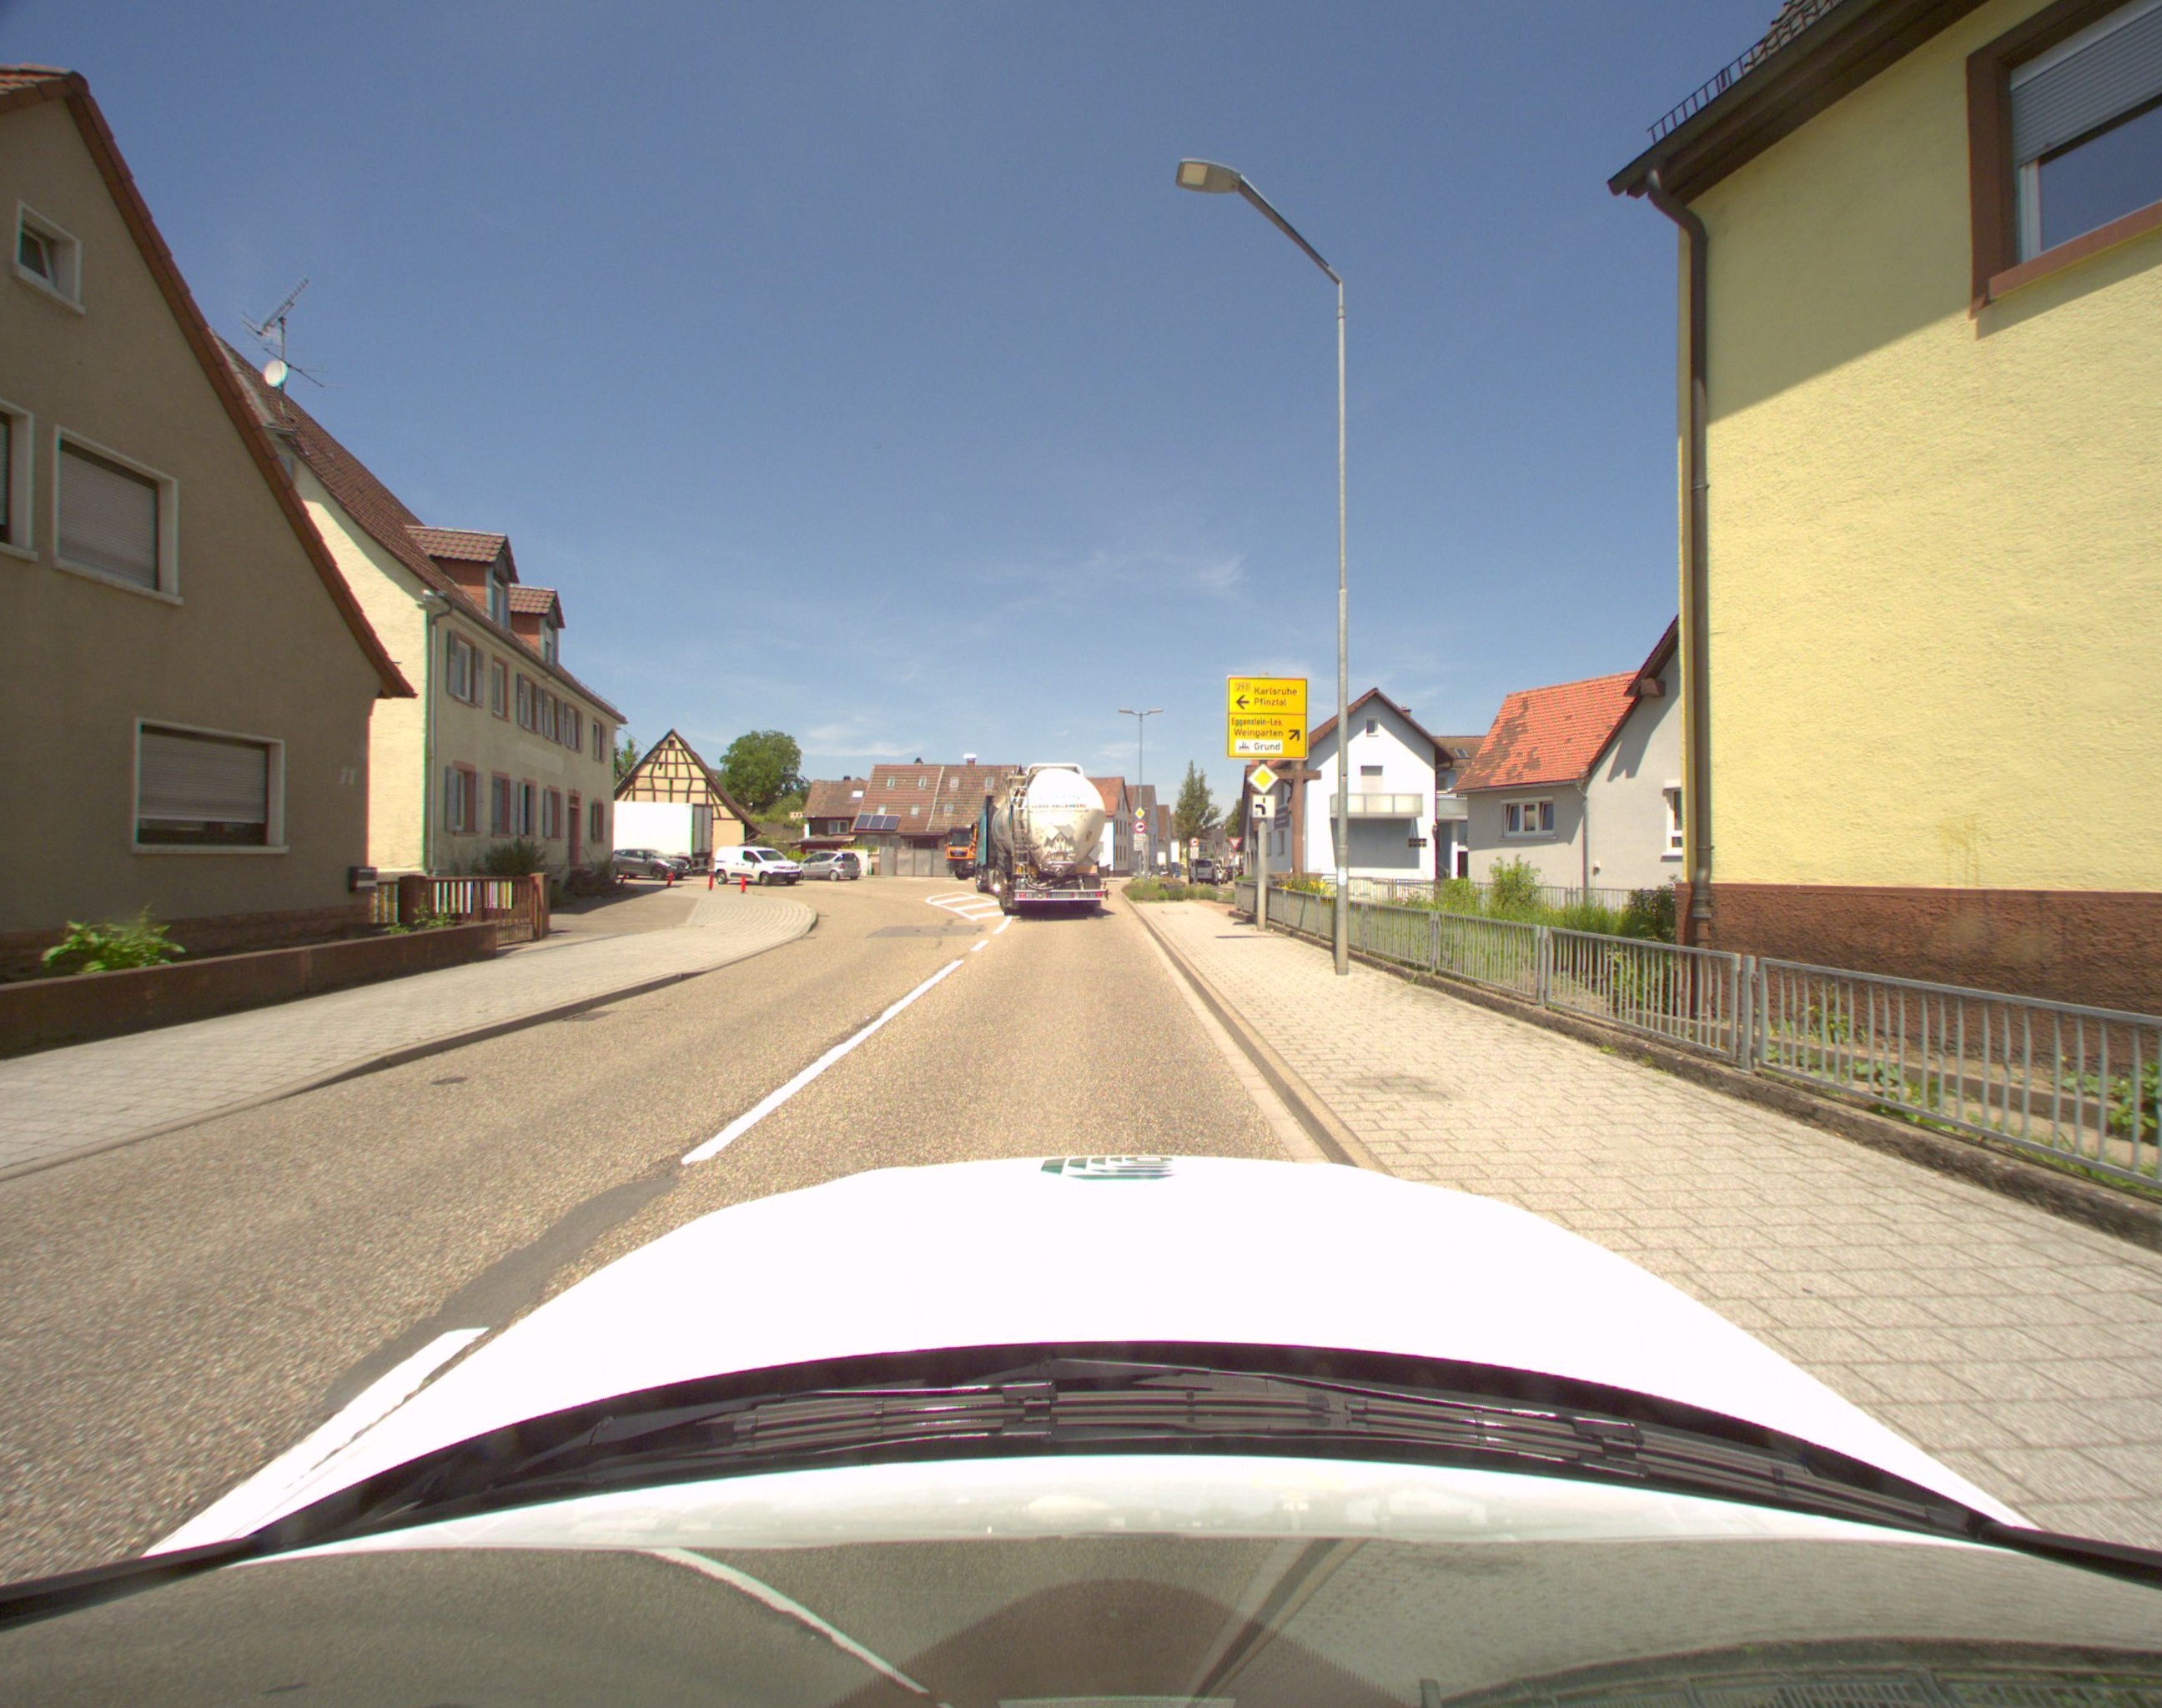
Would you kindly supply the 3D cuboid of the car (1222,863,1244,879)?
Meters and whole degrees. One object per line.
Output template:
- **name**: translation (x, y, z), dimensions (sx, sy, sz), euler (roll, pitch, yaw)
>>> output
- **car**: translation (15.788, 1.743, 84.484), dimensions (1.979, 1.585, 4.015), euler (1, 0, 14)

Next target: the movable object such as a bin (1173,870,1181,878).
- **movable object such as a bin**: translation (12.563, 2.635, 106.241), dimensions (0.913, 1.049, 0.947), euler (1, -1, 16)

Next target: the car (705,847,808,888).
- **car**: translation (-15.518, 0.613, 38.997), dimensions (4.468, 1.785, 1.890), euler (1, 0, 22)

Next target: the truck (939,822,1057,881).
- **truck**: translation (-4.803, -0.010, 48.844), dimensions (2.635, 3.181, 7.509), euler (-1, -3, 36)

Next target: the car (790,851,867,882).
- **car**: translation (-13.383, 0.676, 43.158), dimensions (3.563, 1.585, 1.797), euler (0, -1, 22)

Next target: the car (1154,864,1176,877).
- **car**: translation (10.445, 2.081, 101.314), dimensions (1.703, 1.596, 4.020), euler (0, -1, 21)

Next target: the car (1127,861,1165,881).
- **car**: translation (5.830, 1.541, 72.144), dimensions (1.976, 1.675, 4.336), euler (1, -2, 24)

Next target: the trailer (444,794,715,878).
- **trailer**: translation (-27.186, -0.908, 44.744), dimensions (12.432, 4.277, 3.137), euler (1, -1, -5)

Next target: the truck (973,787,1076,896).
- **truck**: translation (-2.410, -0.421, 32.648), dimensions (2.994, 3.965, 5.548), euler (1, -1, -16)

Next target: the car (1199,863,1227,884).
- **car**: translation (10.846, 1.580, 66.726), dimensions (1.804, 1.634, 4.224), euler (0, -1, 15)

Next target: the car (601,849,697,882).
- **car**: translation (-21.921, 0.560, 41.390), dimensions (3.962, 1.524, 1.803), euler (2, 0, 11)

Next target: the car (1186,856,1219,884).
- **car**: translation (8.952, 1.226, 59.643), dimensions (1.980, 1.912, 4.338), euler (1, -2, 13)

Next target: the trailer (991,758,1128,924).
- **trailer**: translation (-1.132, -0.245, 25.320), dimensions (2.951, 3.948, 11.586), euler (1, -1, -8)
